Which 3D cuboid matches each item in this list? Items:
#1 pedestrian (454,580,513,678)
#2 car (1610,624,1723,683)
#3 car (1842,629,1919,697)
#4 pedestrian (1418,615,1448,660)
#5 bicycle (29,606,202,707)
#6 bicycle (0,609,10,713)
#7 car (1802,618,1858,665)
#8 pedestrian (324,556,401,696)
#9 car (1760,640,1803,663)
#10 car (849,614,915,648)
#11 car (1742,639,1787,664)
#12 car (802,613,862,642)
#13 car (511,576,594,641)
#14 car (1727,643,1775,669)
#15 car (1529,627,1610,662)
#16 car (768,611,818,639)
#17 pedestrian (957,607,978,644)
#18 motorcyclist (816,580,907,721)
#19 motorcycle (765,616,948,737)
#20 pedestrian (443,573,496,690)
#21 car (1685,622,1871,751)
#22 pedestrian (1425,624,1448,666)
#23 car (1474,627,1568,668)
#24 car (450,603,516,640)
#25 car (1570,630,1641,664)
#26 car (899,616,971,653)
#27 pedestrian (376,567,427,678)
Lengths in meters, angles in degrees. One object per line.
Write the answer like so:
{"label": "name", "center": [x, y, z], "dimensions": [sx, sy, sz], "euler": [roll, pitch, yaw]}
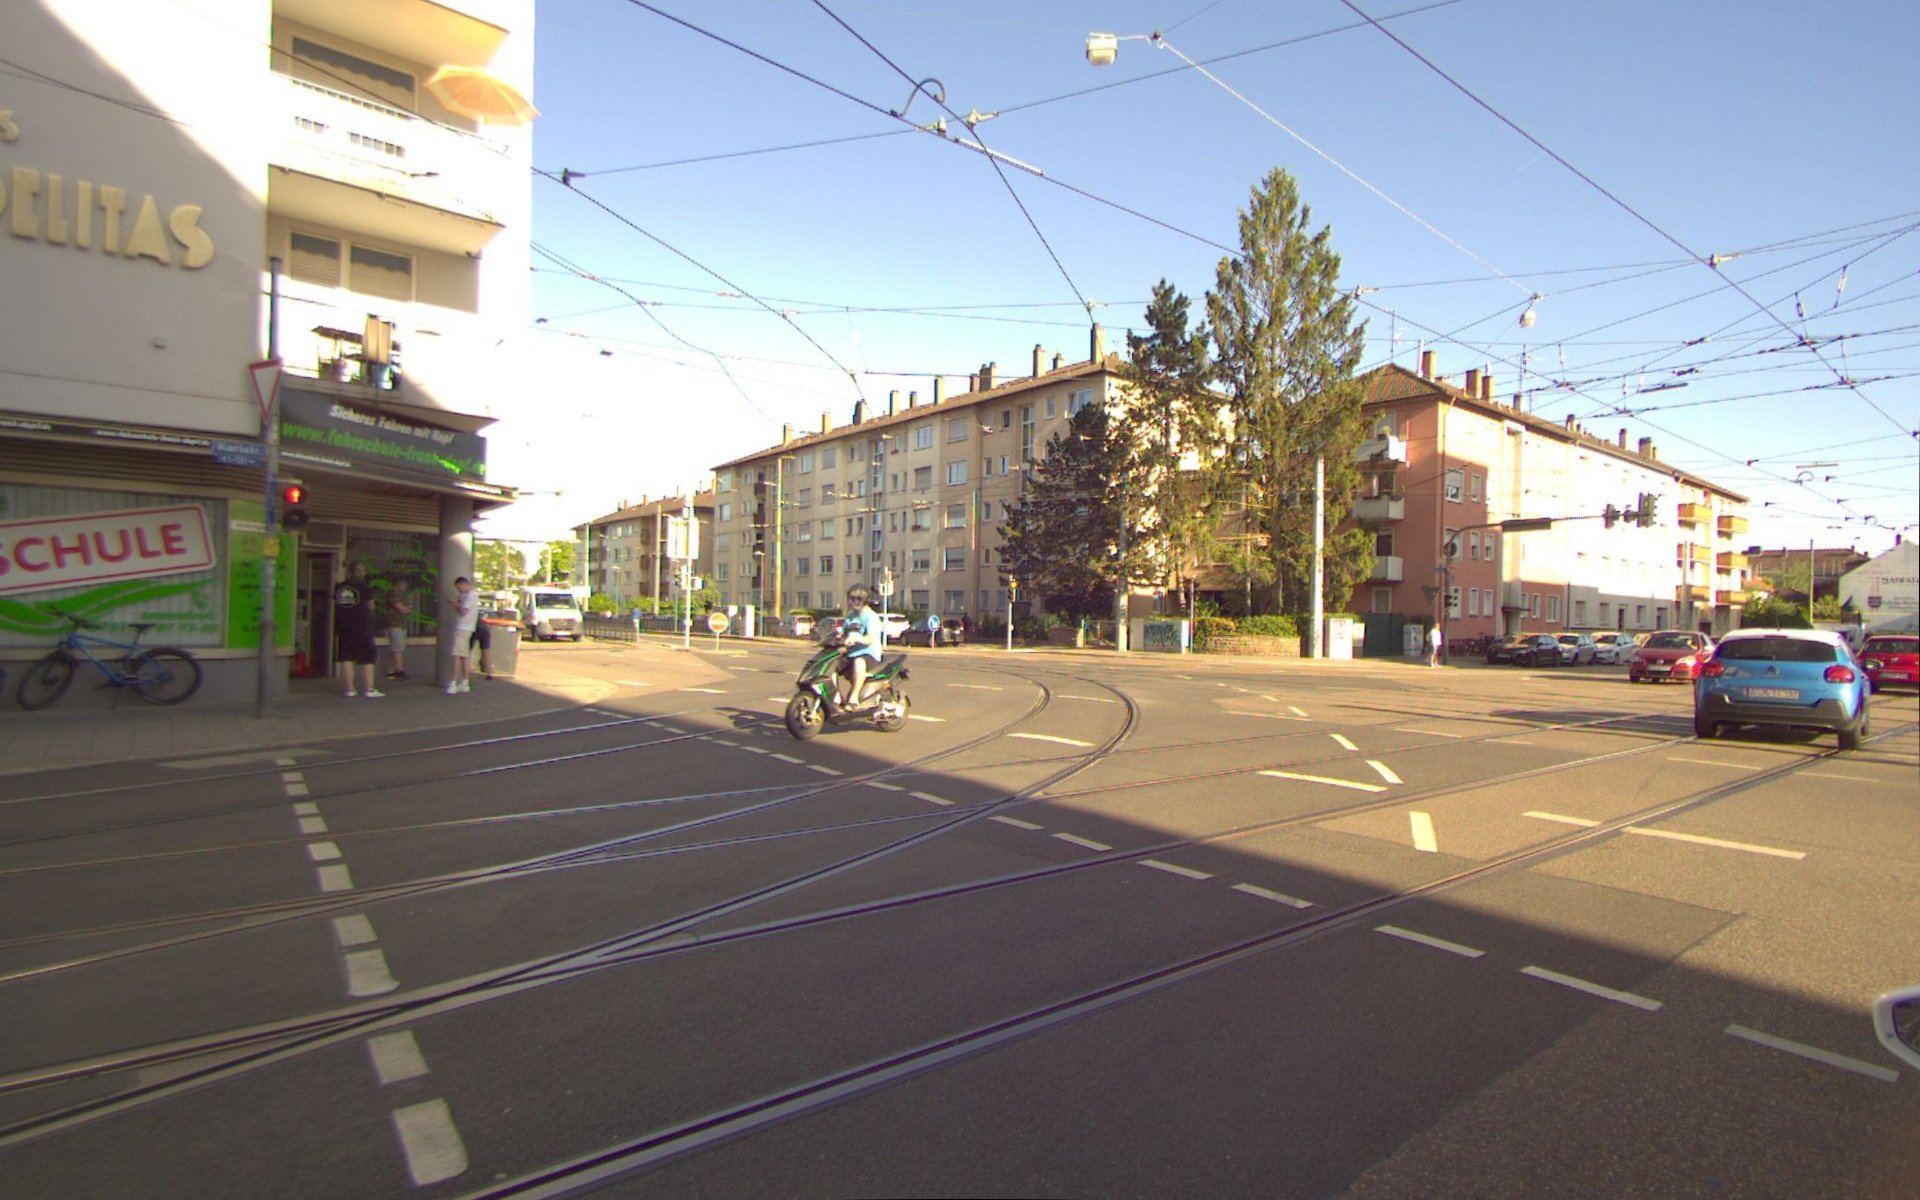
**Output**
{"label": "pedestrian", "center": [-8.521, 0.534, 17.982], "dimensions": [0.689, 1.672, 0.758], "euler": [4, -4, -14]}
{"label": "car", "center": [19.848, 1.492, 28.167], "dimensions": [3.799, 1.505, 1.763], "euler": [3, -2, -41]}
{"label": "car", "center": [24.011, 1.565, 25.598], "dimensions": [3.733, 1.542, 1.769], "euler": [2, 1, -41]}
{"label": "pedestrian", "center": [19.057, 1.518, 40.480], "dimensions": [0.770, 1.744, 0.703], "euler": [3, 1, -10]}
{"label": "bicycle", "center": [-10.085, 0.676, 12.065], "dimensions": [1.525, 1.121, 0.547], "euler": [3, 1, -38]}
{"label": "bicycle", "center": [-11.375, 0.641, 10.682], "dimensions": [1.782, 1.103, 0.602], "euler": [3, 1, -40]}
{"label": "car", "center": [63.347, 3.018, 73.140], "dimensions": [3.459, 3.184, 2.398], "euler": [3, 1, -39]}
{"label": "pedestrian", "center": [-8.517, 0.371, 14.338], "dimensions": [0.728, 1.925, 0.572], "euler": [4, -1, -22]}
{"label": "car", "center": [62.003, 3.868, 75.760], "dimensions": [3.970, 1.597, 1.852], "euler": [3, 1, -42]}
{"label": "car", "center": [-4.490, 1.747, 57.339], "dimensions": [1.758, 1.619, 3.987], "euler": [3, 1, -39]}
{"label": "car", "center": [57.402, 3.649, 71.650], "dimensions": [3.970, 1.597, 1.852], "euler": [3, 1, -42]}
{"label": "car", "center": [-7.889, 1.697, 61.789], "dimensions": [1.819, 1.498, 3.987], "euler": [3, 1, -39]}
{"label": "car", "center": [-18.037, 0.326, 44.311], "dimensions": [2.319, 2.551, 4.806], "euler": [3, 1, -35]}
{"label": "car", "center": [53.733, 3.774, 68.201], "dimensions": [3.970, 1.597, 1.852], "euler": [3, 1, -42]}
{"label": "car", "center": [28.466, 2.094, 46.852], "dimensions": [4.067, 1.455, 1.889], "euler": [3, 1, -38]}
{"label": "car", "center": [-11.011, 1.659, 66.205], "dimensions": [1.647, 1.578, 3.747], "euler": [3, 1, -38]}
{"label": "pedestrian", "center": [0.403, 1.358, 54.024], "dimensions": [0.693, 1.911, 0.773], "euler": [2, 1, -35]}
{"label": "motorcyclist", "center": [-1.101, 0.557, 11.249], "dimensions": [0.679, 1.516, 0.687], "euler": [4, -2, -42]}
{"label": "motorcycle", "center": [-1.119, 0.850, 11.249], "dimensions": [1.951, 1.236, 0.705], "euler": [5, -2, -42]}
{"label": "pedestrian", "center": [-7.841, 0.492, 16.058], "dimensions": [0.655, 1.816, 0.731], "euler": [1, 0, -33]}
{"label": "car", "center": [11.412, 1.106, 13.933], "dimensions": [1.718, 1.472, 3.641], "euler": [2, 0, 43]}
{"label": "pedestrian", "center": [18.223, 1.719, 38.425], "dimensions": [0.569, 1.589, 0.512], "euler": [2, 1, -39]}
{"label": "car", "center": [24.326, 2.055, 43.492], "dimensions": [4.407, 1.450, 2.135], "euler": [5, -1, -41]}
{"label": "car", "center": [-20.007, 0.906, 42.067], "dimensions": [1.865, 1.432, 3.891], "euler": [3, -2, -35]}
{"label": "car", "center": [32.145, 2.342, 49.975], "dimensions": [4.195, 1.546, 1.727], "euler": [3, 1, -40]}
{"label": "car", "center": [-1.382, 1.801, 53.132], "dimensions": [1.853, 1.650, 4.032], "euler": [3, 1, -35]}
{"label": "pedestrian", "center": [-9.686, 0.385, 17.419], "dimensions": [0.594, 1.880, 0.512], "euler": [2, 1, -43]}
